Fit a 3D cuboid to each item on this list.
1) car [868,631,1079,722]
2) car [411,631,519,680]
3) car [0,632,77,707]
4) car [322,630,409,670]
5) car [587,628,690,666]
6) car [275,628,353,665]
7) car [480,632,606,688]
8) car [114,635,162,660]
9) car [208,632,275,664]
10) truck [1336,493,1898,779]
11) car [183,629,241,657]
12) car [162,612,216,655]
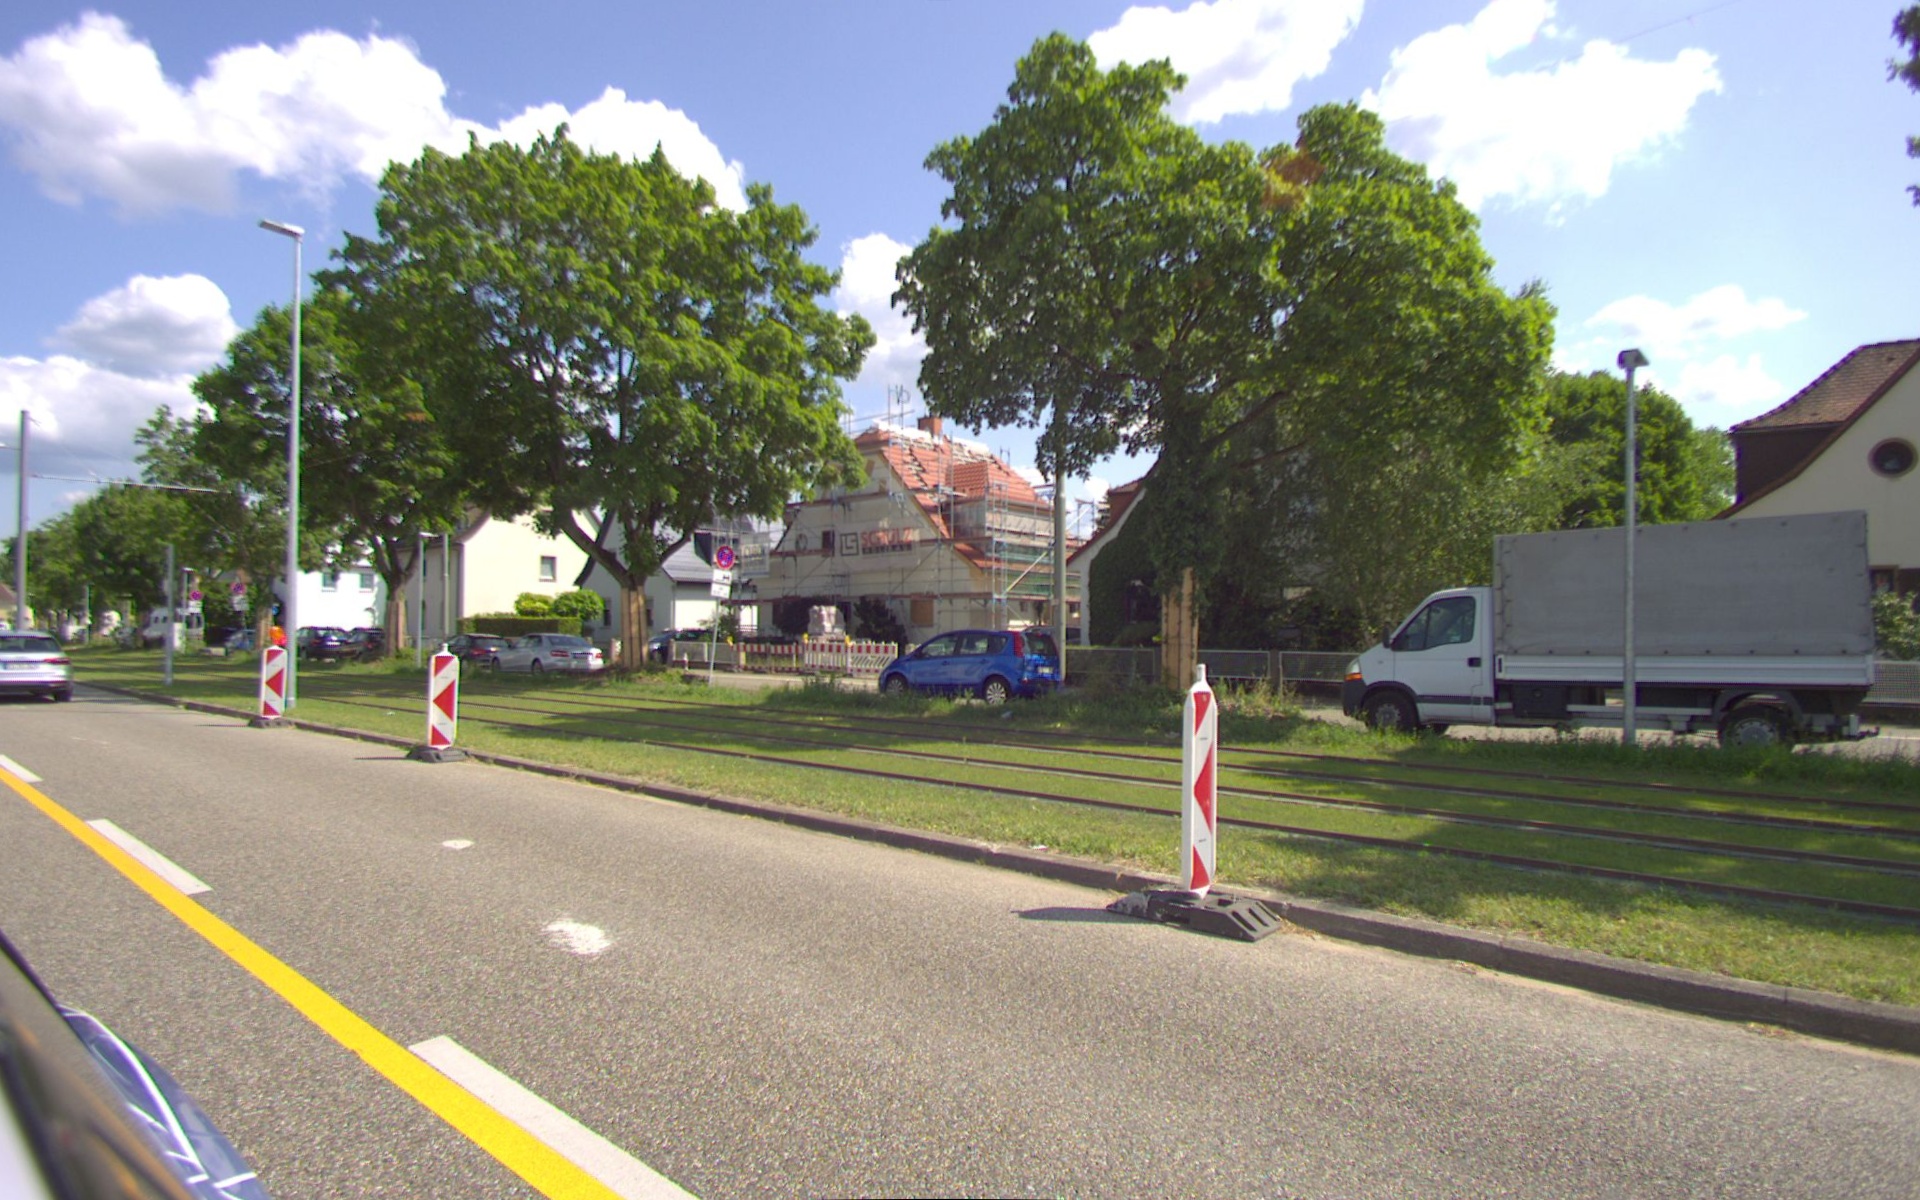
[{"bbox_3d":[0.202,1.444,20.182,4.047,1.623,1.733,-2,-3,40],"label":"car"},{"bbox_3d":[-17.619,1.917,35.935,4.603,1.623,1.733,-2,-3,40],"label":"car"},{"bbox_3d":[-19.654,1.375,20.710,4.258,1.424,1.733,-2,-3,40],"label":"car"},{"bbox_3d":[-25.188,2.076,42.830,4.603,1.623,1.733,-2,-3,40],"label":"car"},{"bbox_3d":[-14.088,2.049,44.511,1.756,1.623,3.995,-2,-3,41],"label":"car"},{"bbox_3d":[-29.608,2.101,46.333,4.603,1.623,1.733,-2,-3,40],"label":"car"},{"bbox_3d":[-13.177,1.832,31.864,4.603,1.623,1.733,-2,-3,40],"label":"car"},{"bbox_3d":[-57.030,3.271,70.150,4.603,1.623,1.733,-2,-3,40],"label":"car"},{"bbox_3d":[-37.650,2.471,52.981,4.603,1.623,1.733,-2,-3,40],"label":"car"},{"bbox_3d":[8.271,0.466,13.361,5.871,3.010,1.982,-2,-3,41],"label":"truck"},{"bbox_3d":[-44.652,2.556,60.406,4.603,1.623,1.733,-2,-3,40],"label":"car"},{"bbox_3d":[-48.887,2.111,64.139,4.603,2.636,1.733,-2,-3,40],"label":"car"}]
